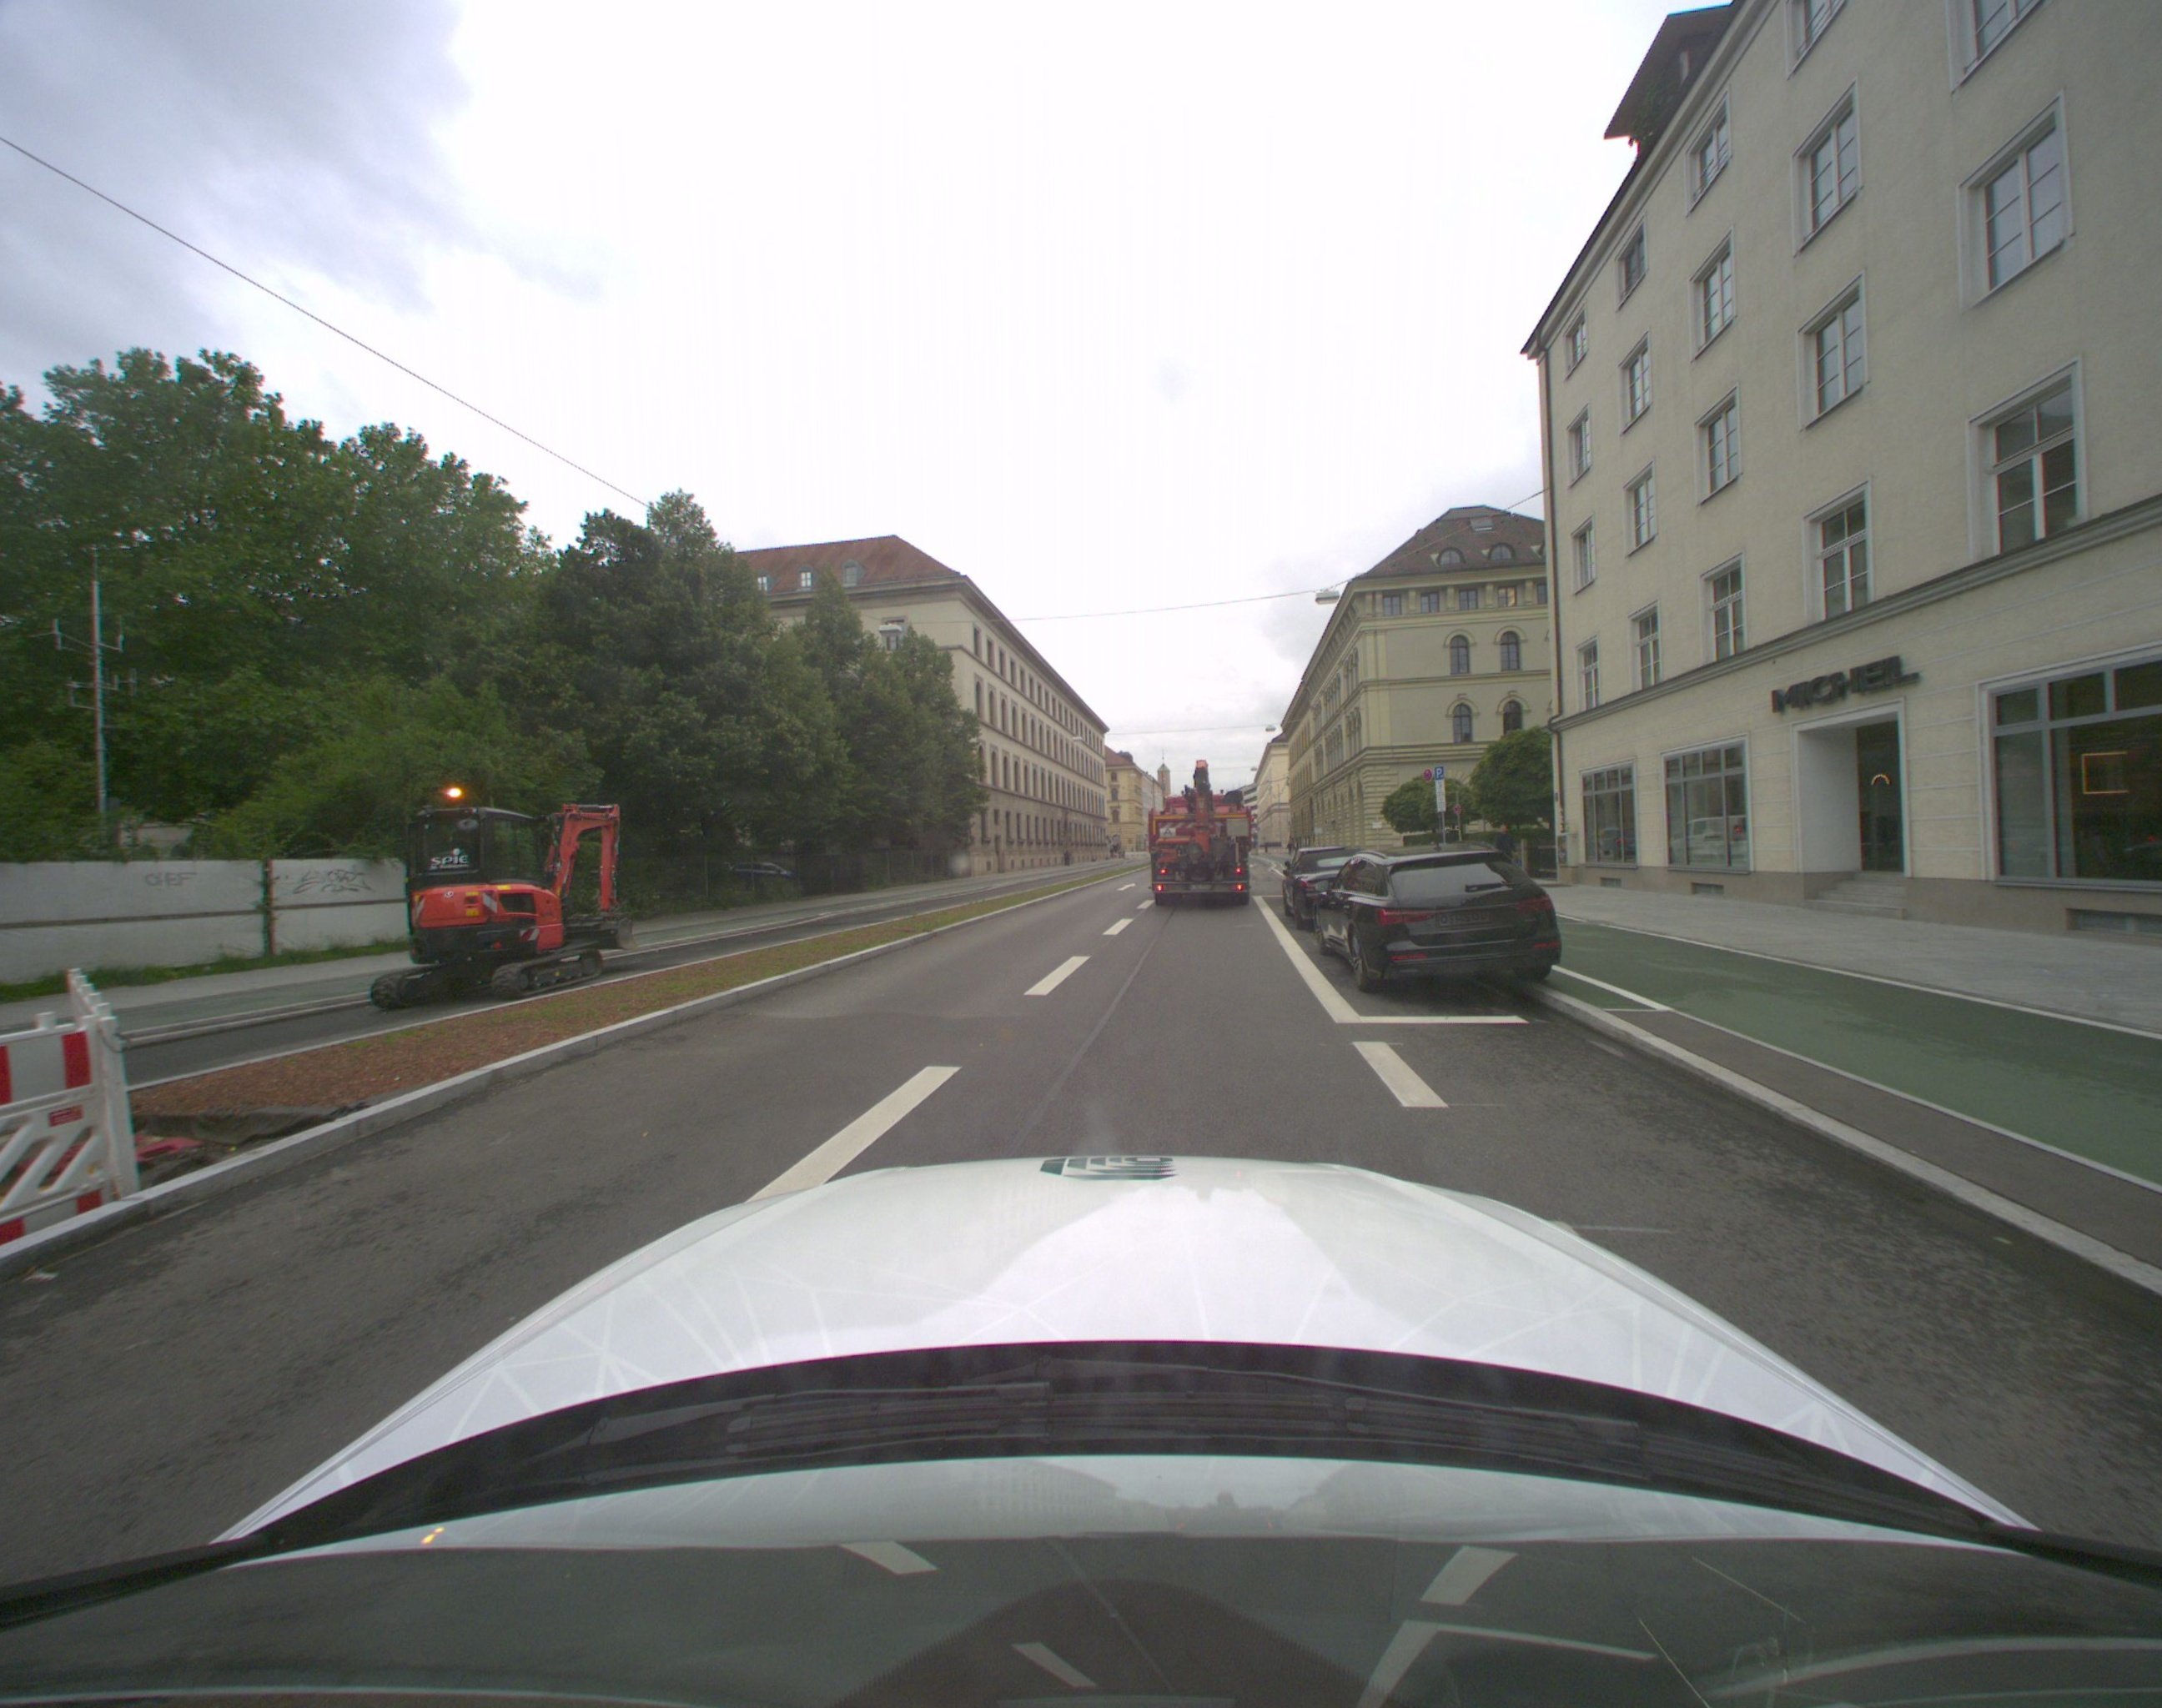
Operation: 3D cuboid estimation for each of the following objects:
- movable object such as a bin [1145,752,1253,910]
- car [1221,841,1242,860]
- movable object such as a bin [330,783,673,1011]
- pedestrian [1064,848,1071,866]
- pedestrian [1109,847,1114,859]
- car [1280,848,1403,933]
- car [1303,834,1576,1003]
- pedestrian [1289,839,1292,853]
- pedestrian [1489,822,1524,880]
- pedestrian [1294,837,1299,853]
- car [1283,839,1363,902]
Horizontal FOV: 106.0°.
[{"bbox_3d":[3.188,-0.554,21.901,2.409,3.611,5.866,-2,0,9],"label":"movable object such as a bin"},{"bbox_3d":[12.559,-0.306,68.151,1.600,1.495,3.434,-2,0,10],"label":"car"},{"bbox_3d":[-8.081,0.495,12.080,1.991,2.641,4.656,-2,0,-6],"label":"movable object such as a bin"},{"bbox_3d":[-1.432,0.331,87.693,0.585,1.831,0.500,-1,0,8],"label":"pedestrian"},{"bbox_3d":[4.919,-0.151,131.174,0.585,1.831,0.500,-1,0,8],"label":"pedestrian"},{"bbox_3d":[4.914,0.606,15.924,1.670,1.386,4.439,-1,1,10],"label":"car"},{"bbox_3d":[3.871,0.570,9.731,1.791,1.480,4.699,-2,0,9],"label":"car"},{"bbox_3d":[25.075,-0.981,97.529,0.335,1.672,0.441,-2,0,11],"label":"pedestrian"},{"bbox_3d":[13.951,-0.093,26.705,0.785,1.836,0.779,-2,0,11],"label":"pedestrian"},{"bbox_3d":[25.788,-1.092,97.304,0.443,1.836,0.558,-2,0,11],"label":"pedestrian"},{"bbox_3d":[6.353,0.396,21.694,1.600,1.495,3.434,-2,0,10],"label":"car"}]
